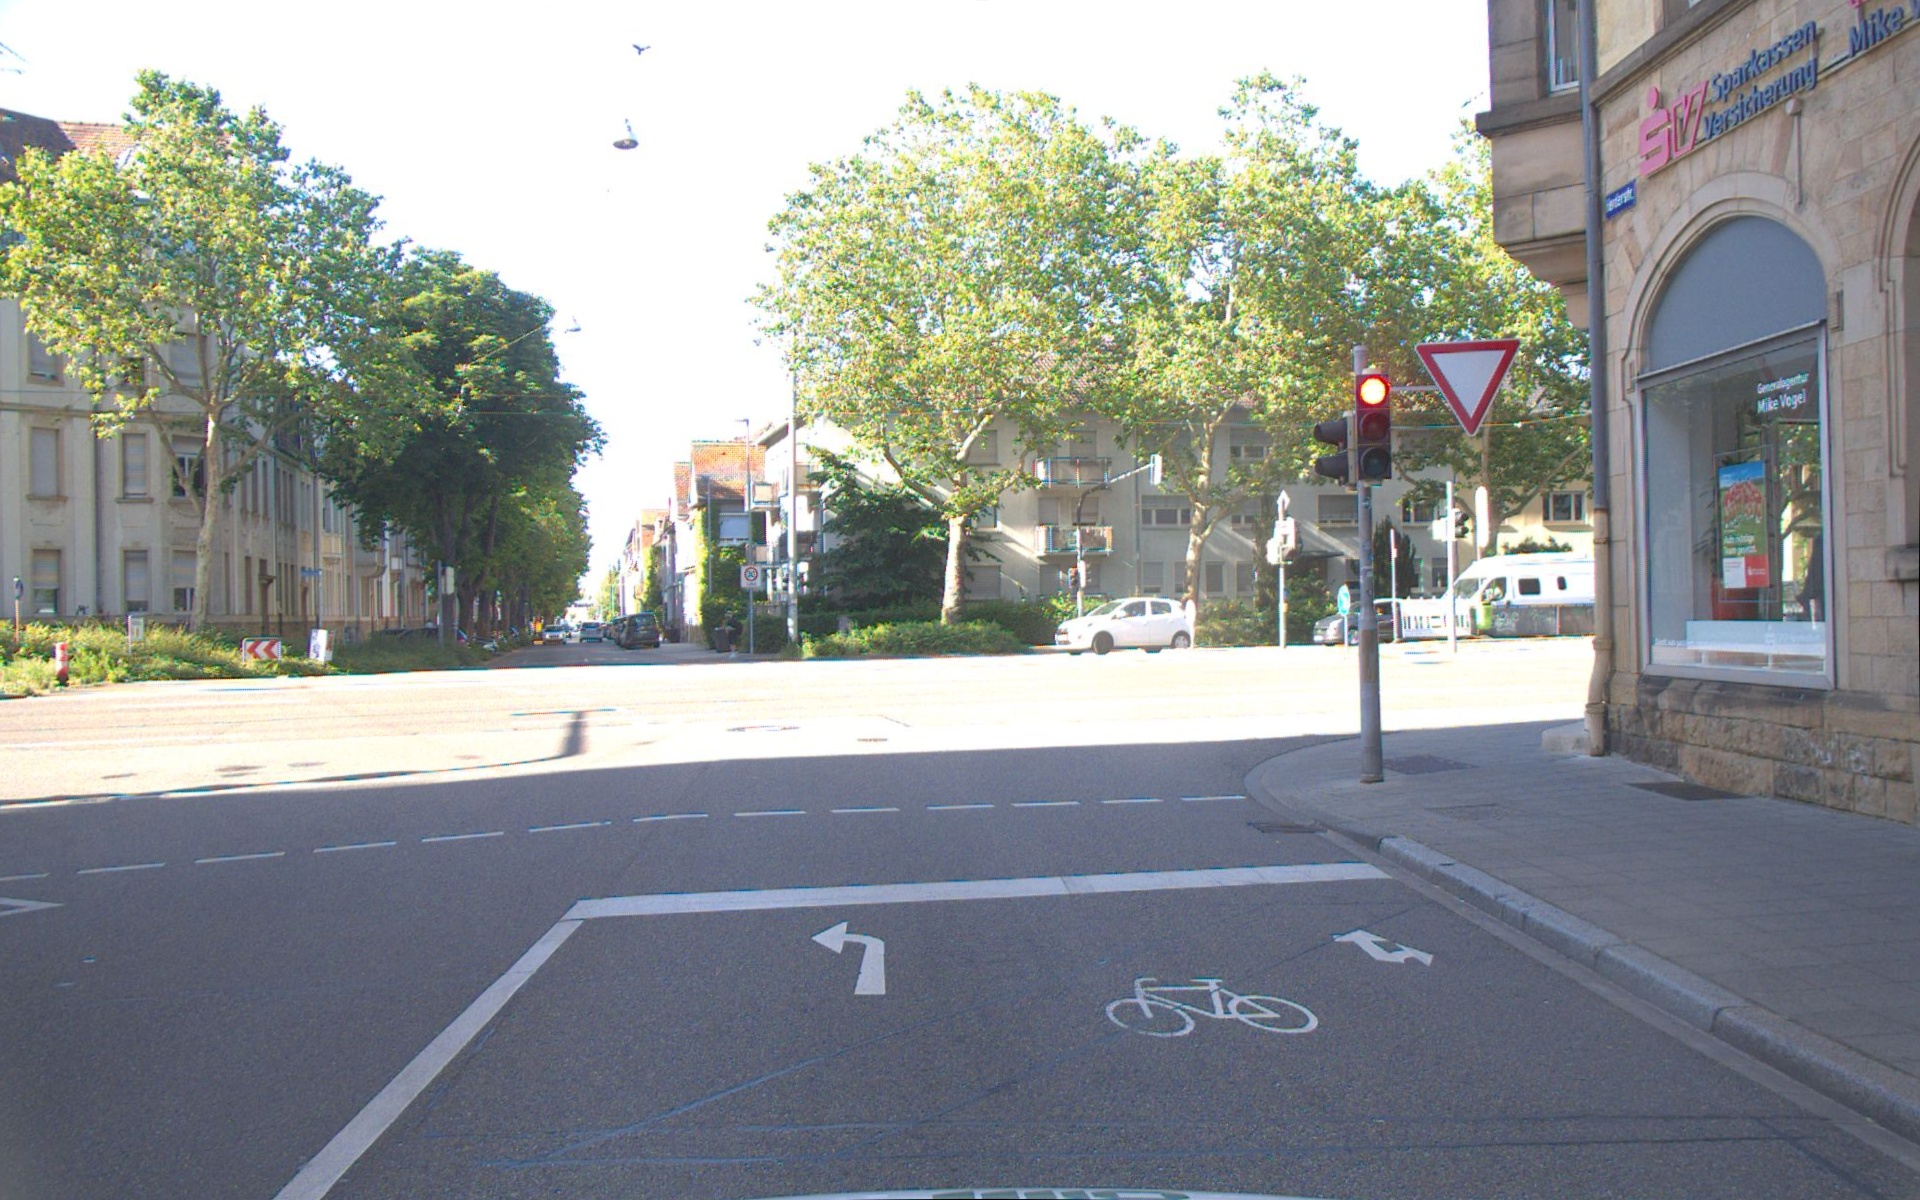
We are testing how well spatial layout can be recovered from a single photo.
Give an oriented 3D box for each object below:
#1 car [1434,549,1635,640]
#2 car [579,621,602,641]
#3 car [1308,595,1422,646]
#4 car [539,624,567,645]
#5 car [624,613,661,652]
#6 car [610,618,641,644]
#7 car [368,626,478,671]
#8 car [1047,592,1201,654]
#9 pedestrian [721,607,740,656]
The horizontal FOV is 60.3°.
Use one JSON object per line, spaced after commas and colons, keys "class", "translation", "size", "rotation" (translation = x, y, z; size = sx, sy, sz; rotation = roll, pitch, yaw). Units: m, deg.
{"class": "car", "translation": [17.941, -0.189, 51.669], "size": [5.949, 2.613, 1.989], "rotation": [-2, 0, -19]}
{"class": "car", "translation": [-29.895, 2.515, 133.735], "size": [1.646, 1.508, 3.508], "rotation": [-1, -1, -14]}
{"class": "car", "translation": [13.057, 0.637, 53.356], "size": [3.333, 1.513, 1.514], "rotation": [-2, 0, -23]}
{"class": "car", "translation": [-31.115, 2.609, 126.381], "size": [1.960, 1.471, 3.984], "rotation": [-2, 0, -15]}
{"class": "car", "translation": [-18.060, 1.817, 94.149], "size": [1.957, 2.049, 3.990], "rotation": [-2, 0, -10]}
{"class": "car", "translation": [-25.207, 2.313, 124.593], "size": [1.961, 1.865, 3.982], "rotation": [0, -1, -16]}
{"class": "car", "translation": [-20.561, 1.842, 63.357], "size": [3.928, 1.512, 1.672], "rotation": [-2, 0, -20]}
{"class": "car", "translation": [4.368, 0.599, 44.021], "size": [3.736, 1.498, 1.618], "rotation": [-2, 0, -23]}
{"class": "pedestrian", "translation": [-8.322, 1.132, 59.936], "size": [0.621, 1.780, 0.658], "rotation": [0, -1, -5]}
